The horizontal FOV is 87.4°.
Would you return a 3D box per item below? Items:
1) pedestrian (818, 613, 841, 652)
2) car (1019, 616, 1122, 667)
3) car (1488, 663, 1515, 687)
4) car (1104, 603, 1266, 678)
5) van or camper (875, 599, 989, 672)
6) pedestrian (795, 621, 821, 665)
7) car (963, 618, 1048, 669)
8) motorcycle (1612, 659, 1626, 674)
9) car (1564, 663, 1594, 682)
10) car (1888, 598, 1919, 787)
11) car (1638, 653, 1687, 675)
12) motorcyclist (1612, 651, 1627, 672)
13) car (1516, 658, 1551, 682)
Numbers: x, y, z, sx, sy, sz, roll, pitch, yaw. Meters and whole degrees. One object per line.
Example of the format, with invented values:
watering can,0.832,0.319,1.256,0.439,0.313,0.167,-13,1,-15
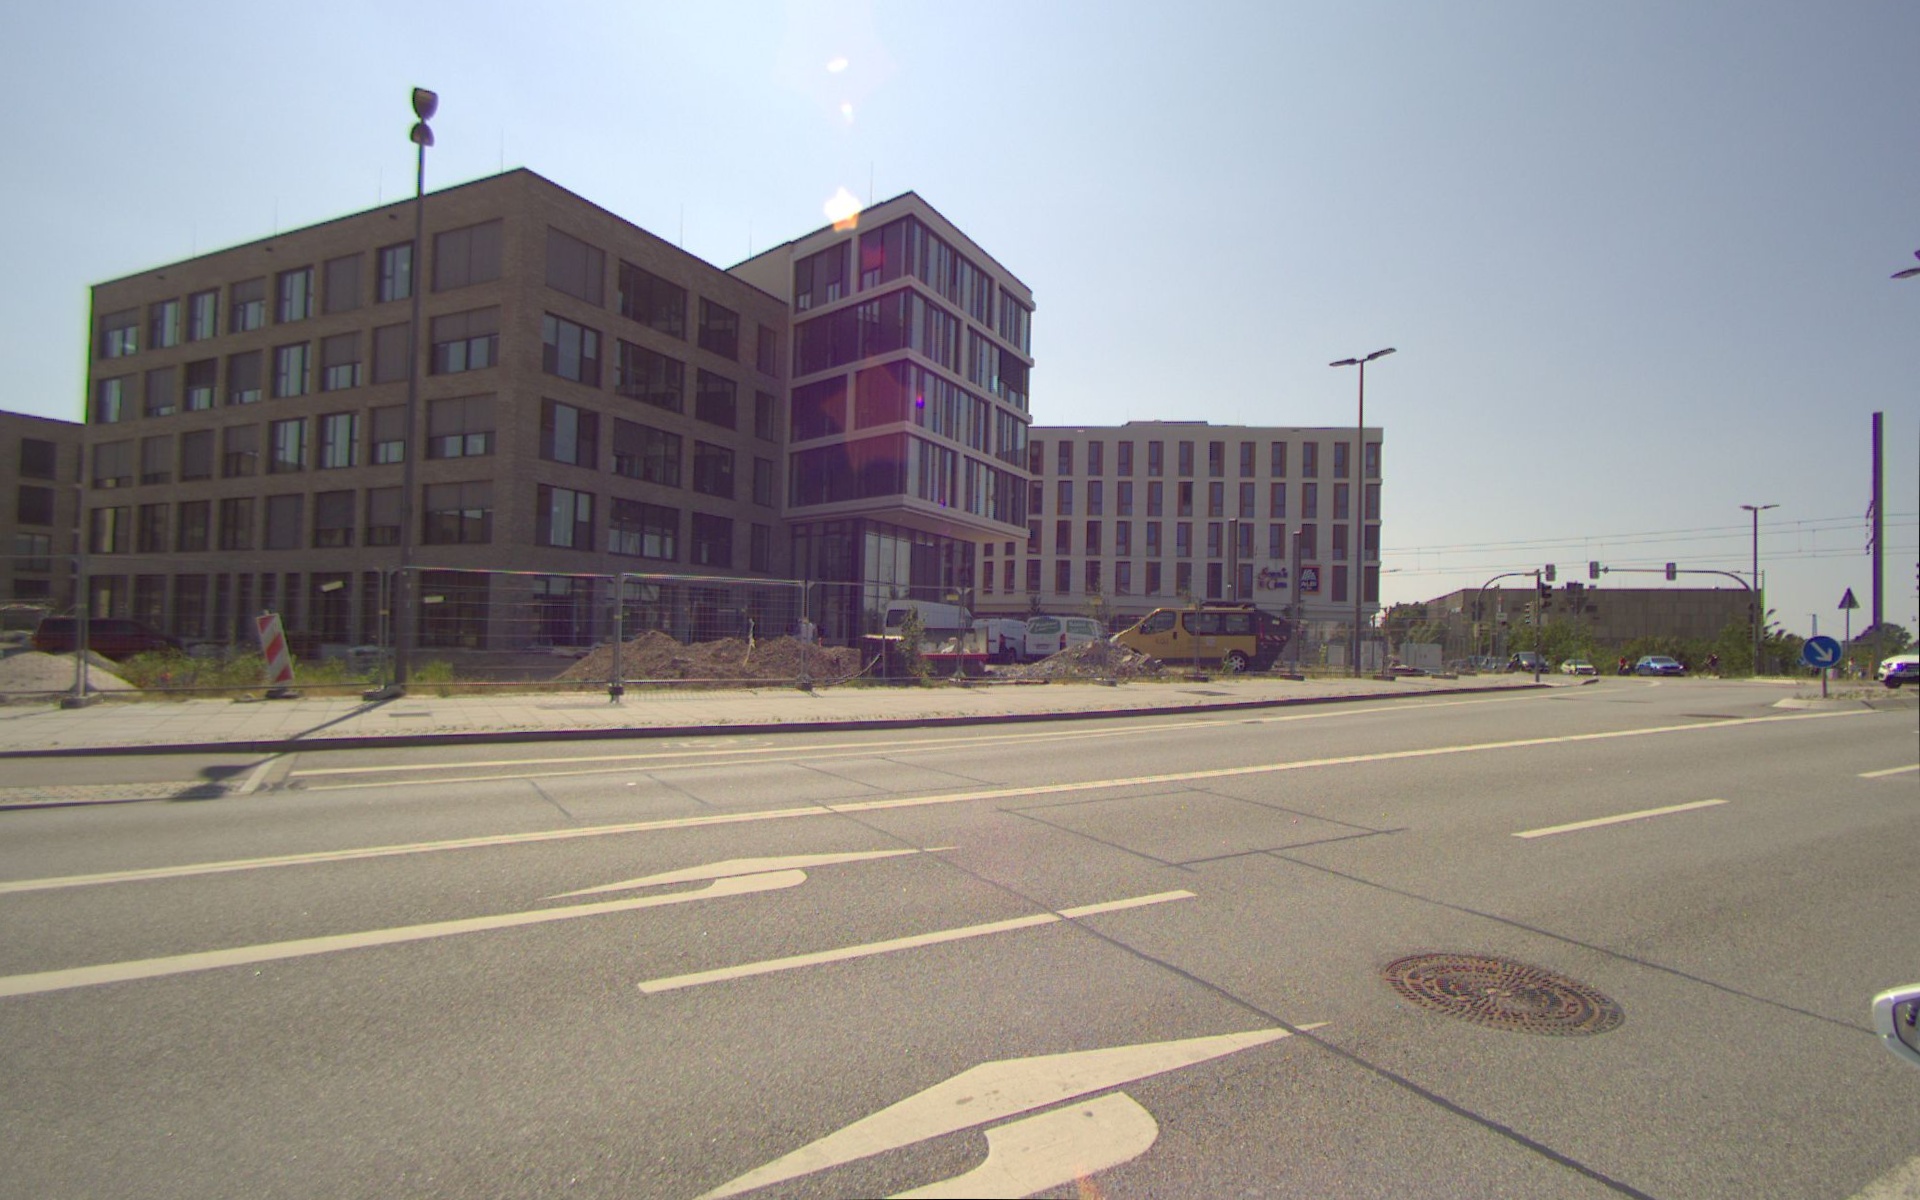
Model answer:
pedestrian,-5.904,1.474,45.456,0.734,1.741,0.699,2,0,17
car,4.318,1.558,38.700,1.841,1.797,4.636,2,0,36
car,41.646,5.772,77.326,1.541,1.608,3.477,2,0,24
car,6.682,1.173,30.204,4.533,1.988,1.991,2,0,10
van or camper,-1.074,1.416,41.684,2.273,2.772,4.974,2,0,33
pedestrian,-6.137,1.723,40.597,0.734,1.741,0.699,2,0,17
car,1.882,1.687,40.017,1.759,1.881,3.843,2,0,30
motorcycle,47.885,4.816,72.995,0.511,0.967,1.933,2,0,24
car,51.678,5.999,83.852,1.578,1.357,2.924,2,0,21
car,10.689,0.891,9.343,4.314,1.663,1.793,2,0,-30
car,47.281,4.295,67.685,1.787,1.348,4.000,2,-2,21
motorcyclist,47.917,4.458,72.988,0.739,1.514,0.677,2,0,24
car,39.433,4.795,69.136,1.646,1.496,3.405,0,-1,22
